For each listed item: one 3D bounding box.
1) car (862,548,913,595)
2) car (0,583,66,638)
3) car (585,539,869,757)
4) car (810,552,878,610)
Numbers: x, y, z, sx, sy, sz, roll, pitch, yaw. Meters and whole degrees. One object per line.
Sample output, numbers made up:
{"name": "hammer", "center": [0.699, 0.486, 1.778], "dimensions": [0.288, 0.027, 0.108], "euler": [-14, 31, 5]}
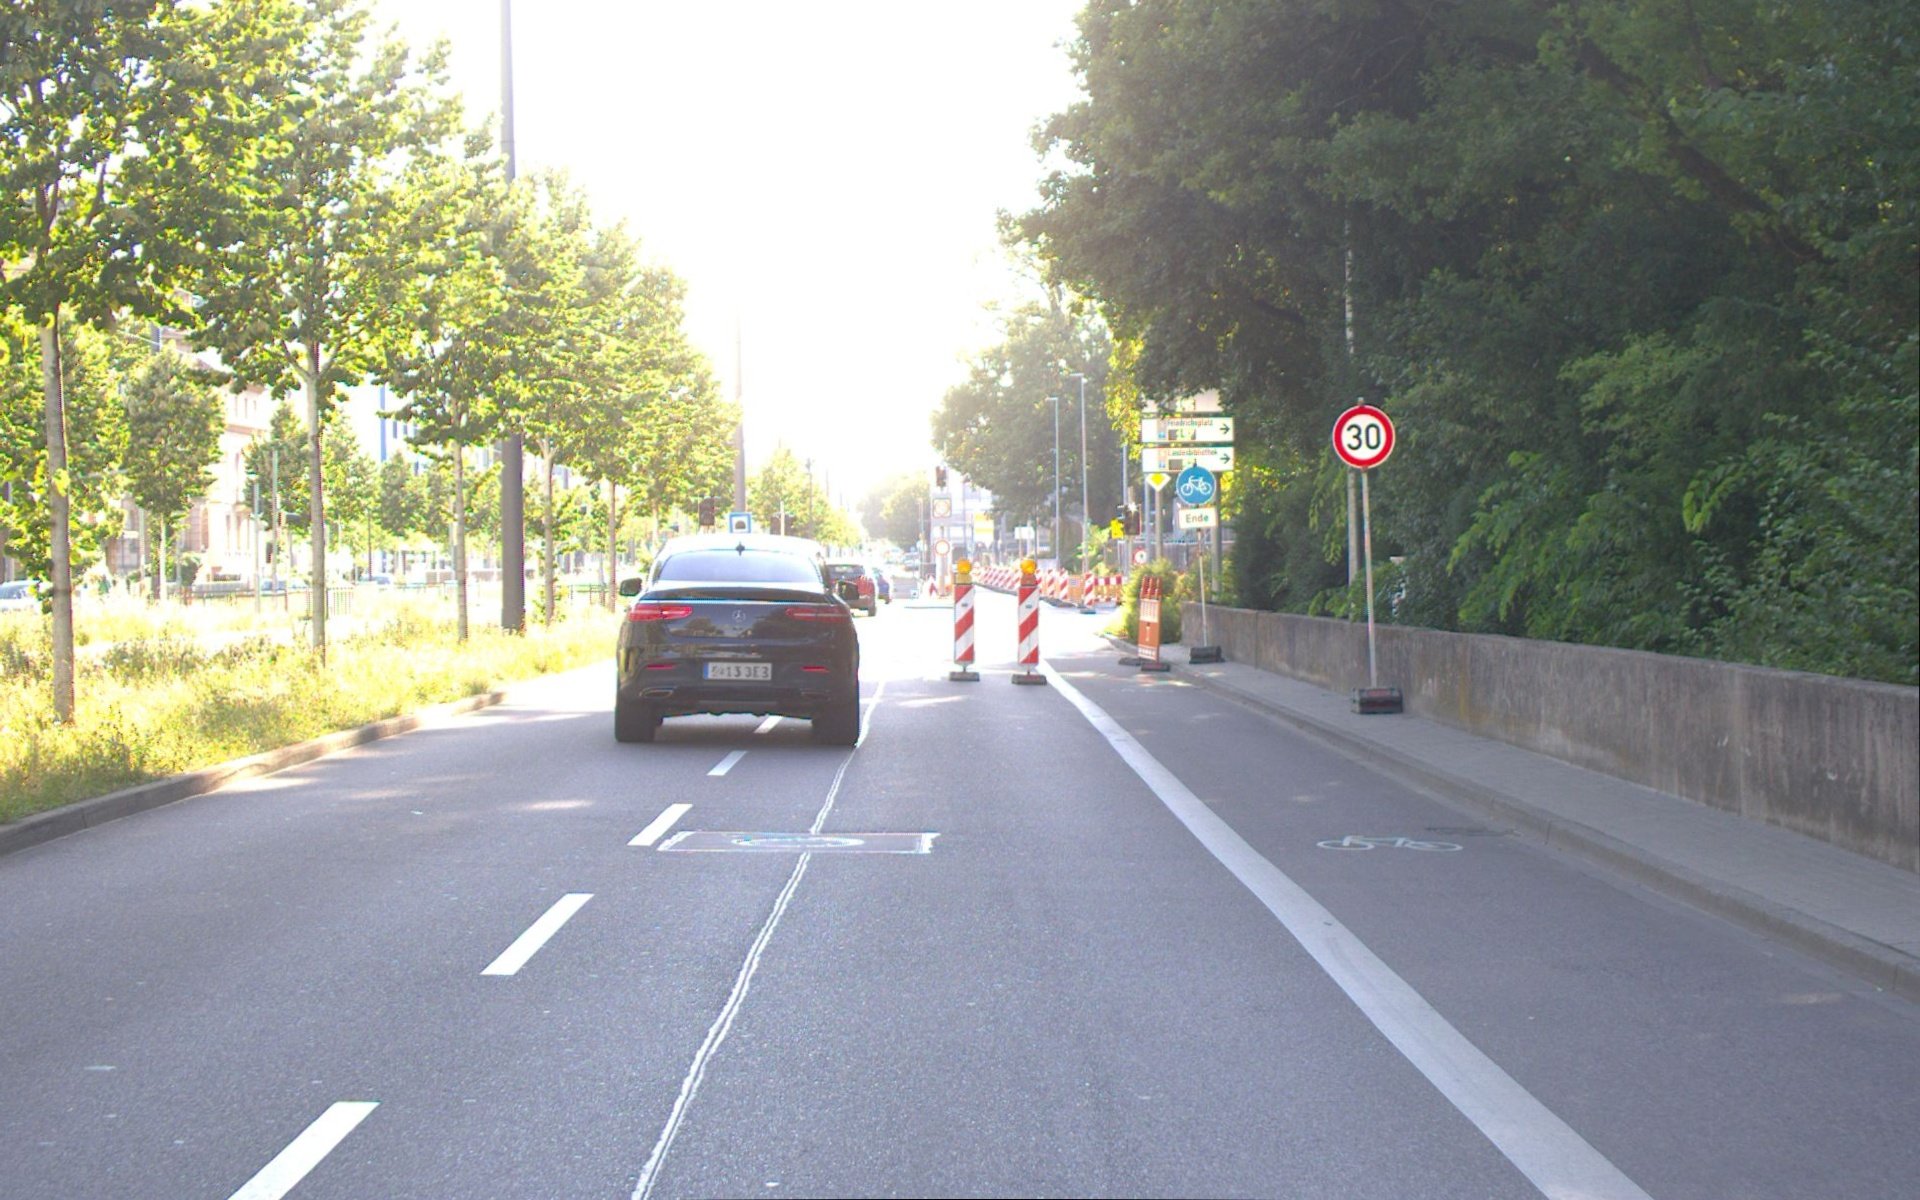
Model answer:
{"name": "car", "center": [-2.573, -1.025, 122.507], "dimensions": [1.767, 1.598, 3.773], "euler": [-1, 1, -1]}
{"name": "car", "center": [-27.413, 0.294, 99.602], "dimensions": [1.885, 1.509, 4.000], "euler": [0, 1, 1]}
{"name": "car", "center": [-2.064, 0.353, 29.393], "dimensions": [1.993, 1.728, 4.001], "euler": [0, 1, -10]}
{"name": "car", "center": [-3.278, -0.561, 97.783], "dimensions": [1.885, 1.575, 4.000], "euler": [0, 1, -1]}
